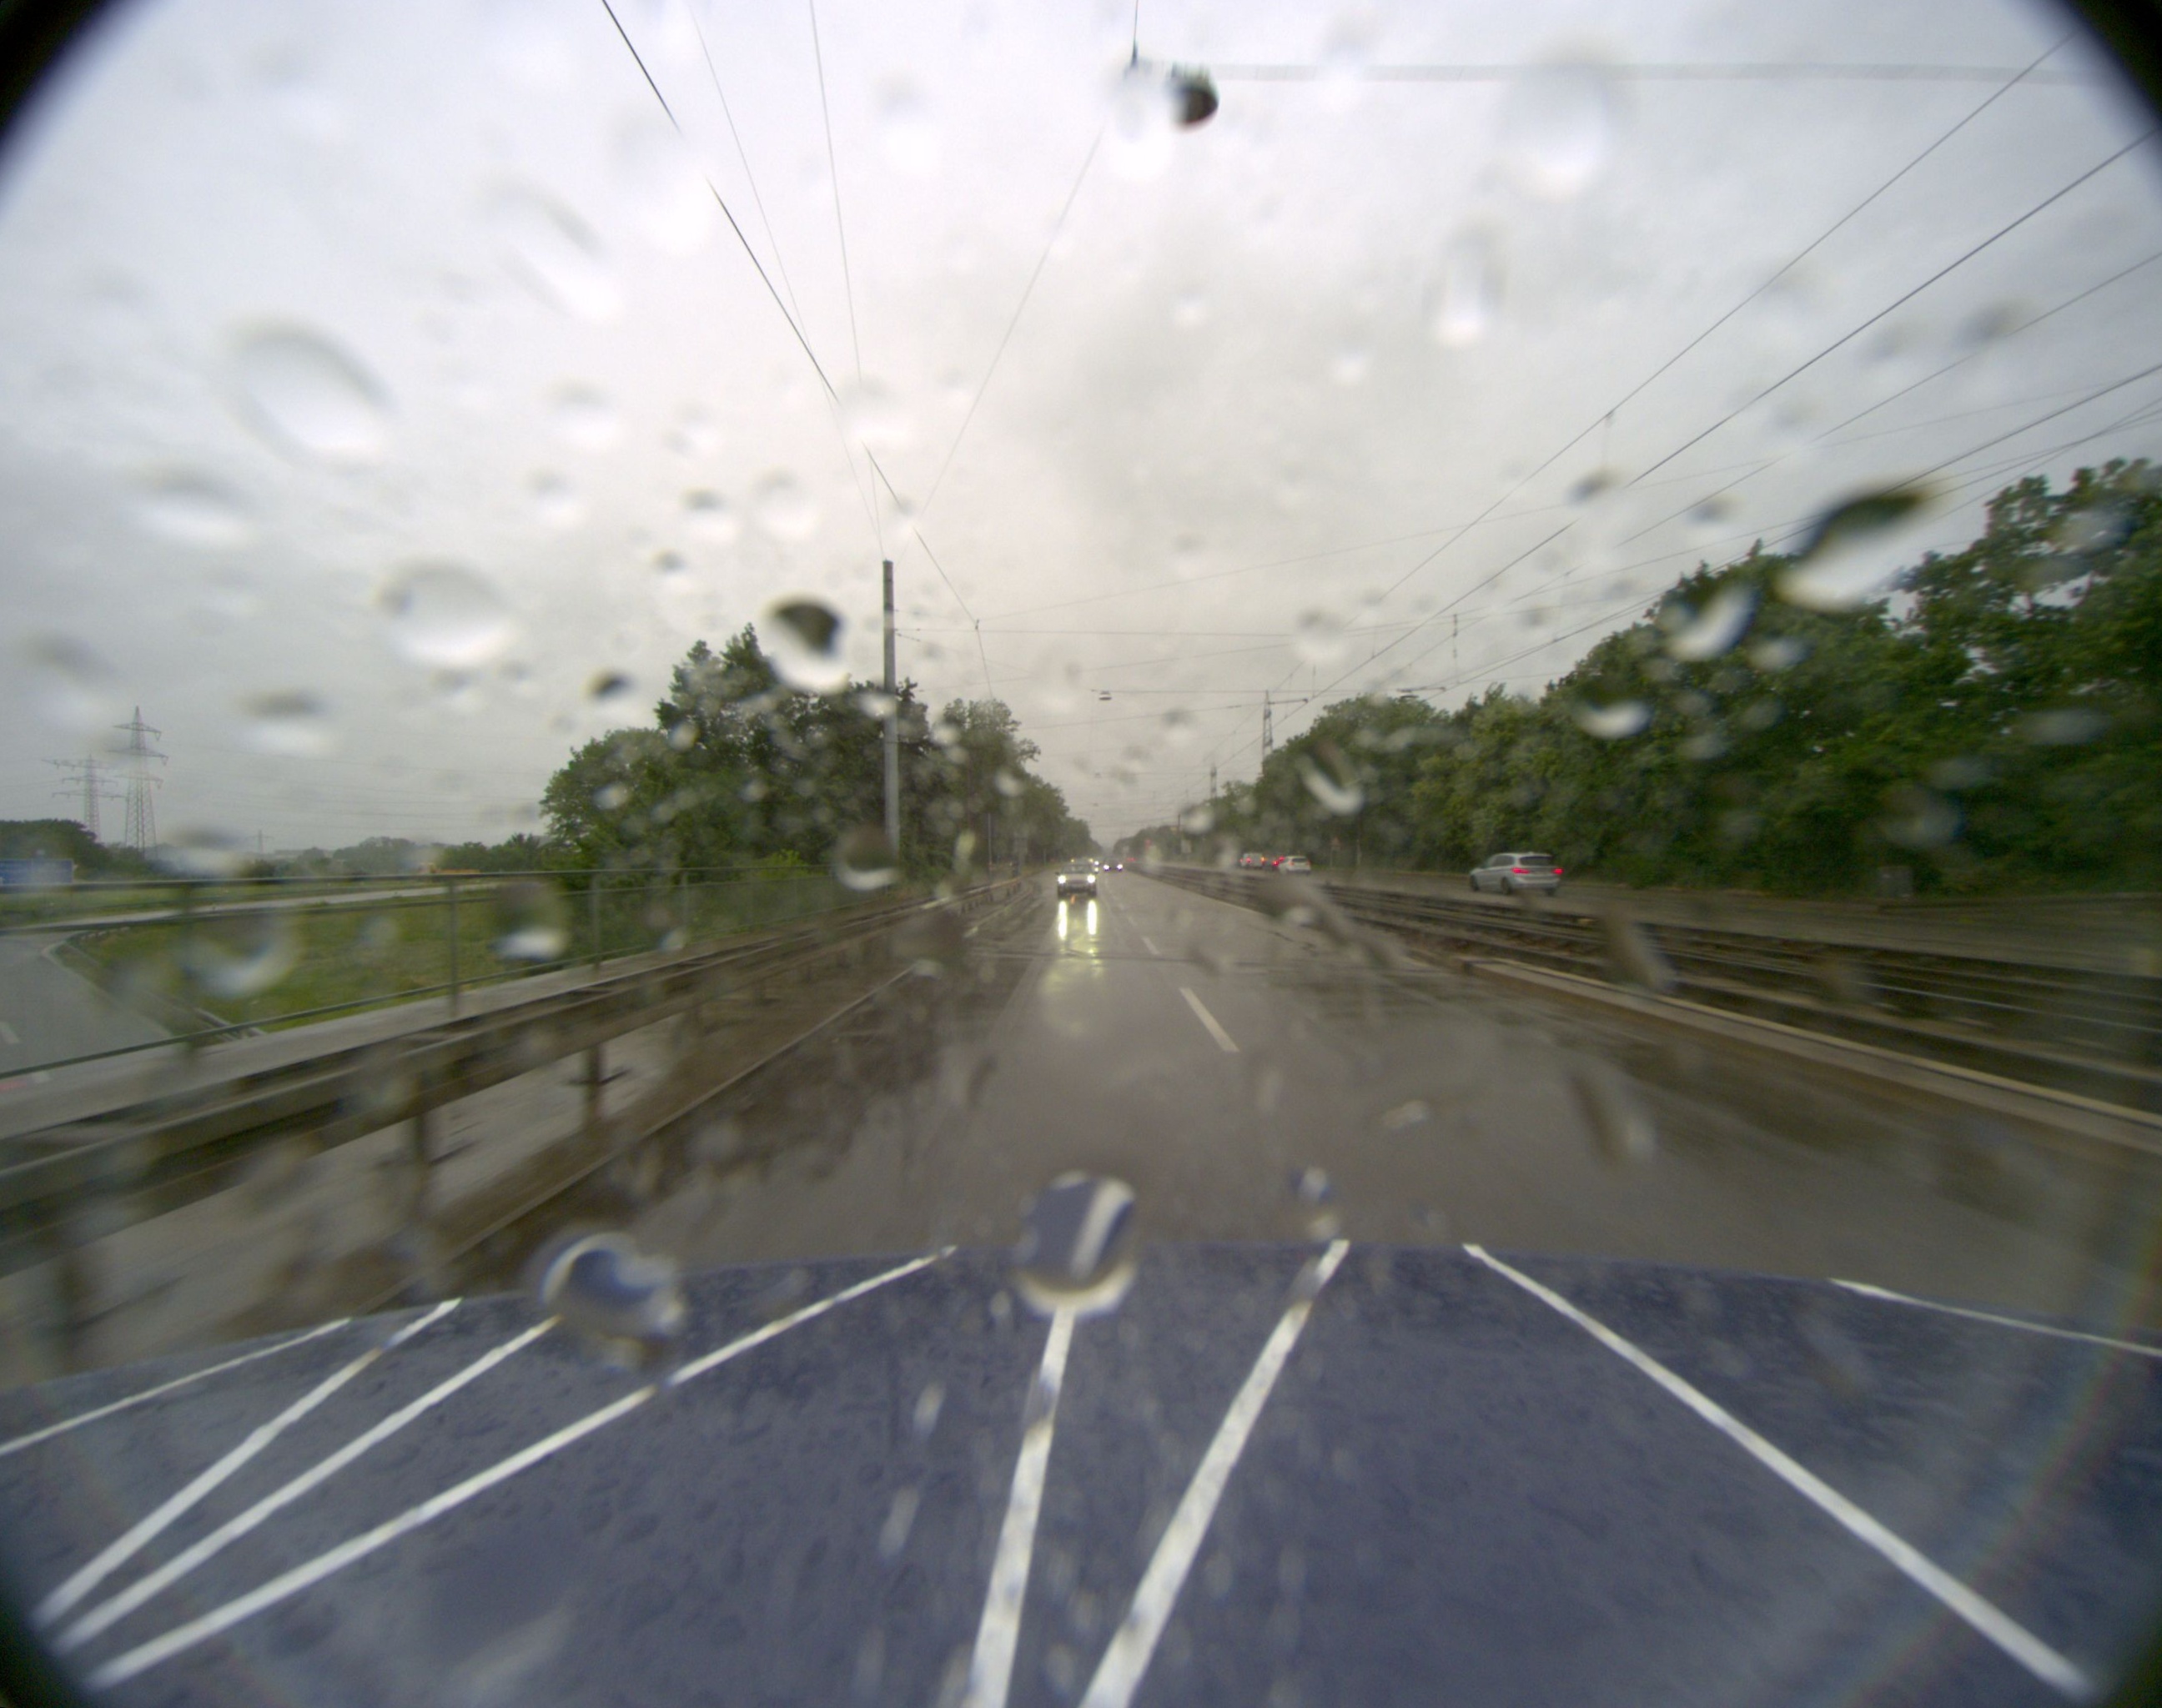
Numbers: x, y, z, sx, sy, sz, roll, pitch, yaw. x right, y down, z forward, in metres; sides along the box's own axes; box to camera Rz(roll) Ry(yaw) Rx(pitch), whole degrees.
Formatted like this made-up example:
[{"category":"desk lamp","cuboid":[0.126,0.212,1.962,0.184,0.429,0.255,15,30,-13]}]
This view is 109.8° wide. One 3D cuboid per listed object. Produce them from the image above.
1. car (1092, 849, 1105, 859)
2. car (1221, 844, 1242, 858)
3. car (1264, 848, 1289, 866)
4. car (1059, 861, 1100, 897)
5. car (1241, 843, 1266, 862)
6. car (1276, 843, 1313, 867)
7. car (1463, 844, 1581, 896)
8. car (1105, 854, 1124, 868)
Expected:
[{"category":"car","cuboid":[2.773,-0.041,120.236,1.971,1.412,3.999,0,1,1]},{"category":"car","cuboid":[20.747,-0.460,105.117,2.190,1.688,4.145,-4,1,3]},{"category":"car","cuboid":[20.128,0.286,78.356,1.777,1.621,3.671,-4,1,5]},{"category":"car","cuboid":[-0.041,1.059,34.121,1.751,1.412,3.999,0,1,1]},{"category":"car","cuboid":[20.949,-0.199,92.380,2.190,2.091,4.145,-4,1,3]},{"category":"car","cuboid":[16.543,0.063,59.122,1.777,1.621,3.670,-4,1,1]},{"category":"car","cuboid":[16.985,0.530,29.561,1.837,1.701,4.660,-4,1,1]},{"category":"car","cuboid":[3.636,0.705,82.381,1.971,1.412,3.999,0,1,1]}]
